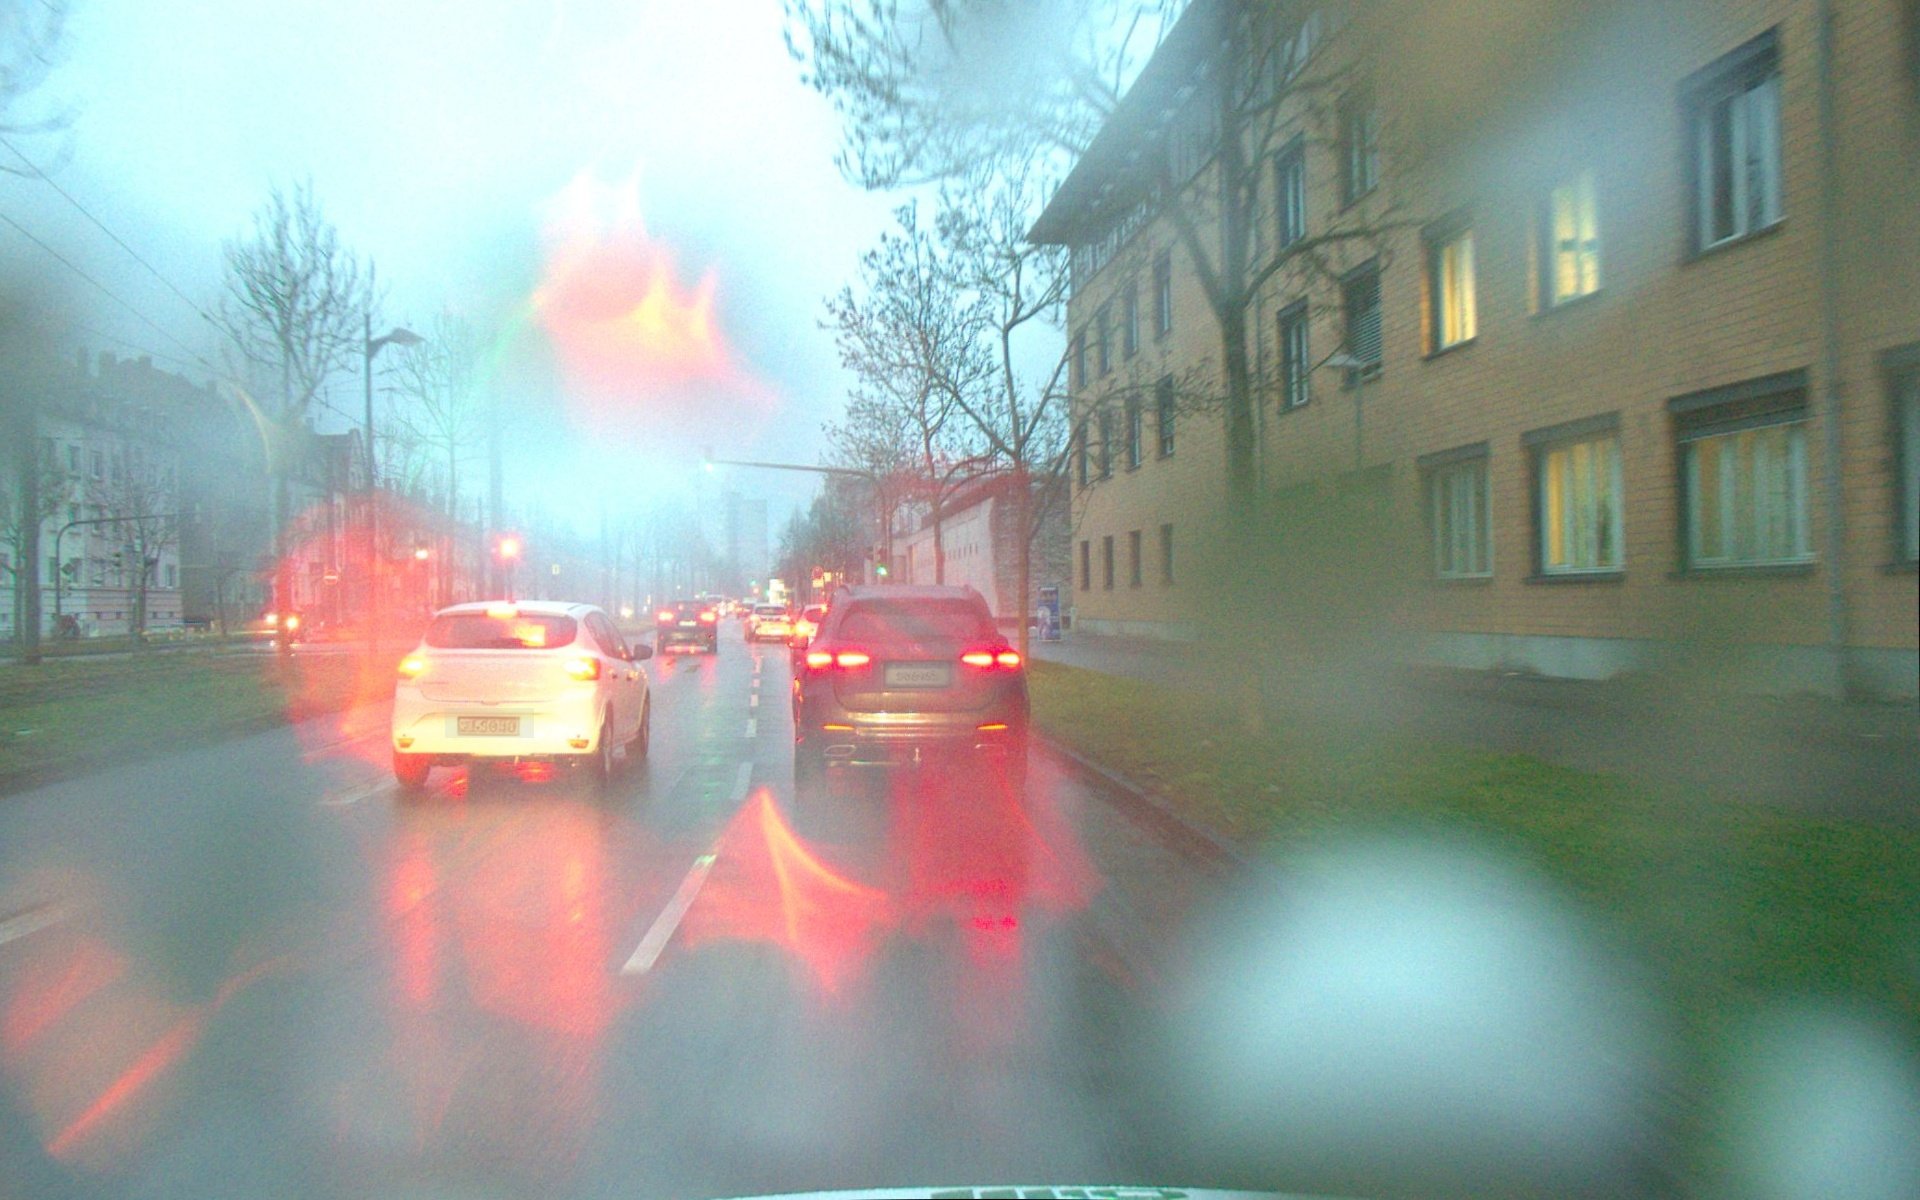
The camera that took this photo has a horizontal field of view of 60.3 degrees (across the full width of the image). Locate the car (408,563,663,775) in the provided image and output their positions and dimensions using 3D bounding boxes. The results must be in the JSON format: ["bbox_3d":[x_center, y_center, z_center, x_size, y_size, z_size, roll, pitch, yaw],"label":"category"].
[{"bbox_3d":[-3.635,0.545,14.801,1.640,1.628,4.048,0,0,-6],"label":"car"}]

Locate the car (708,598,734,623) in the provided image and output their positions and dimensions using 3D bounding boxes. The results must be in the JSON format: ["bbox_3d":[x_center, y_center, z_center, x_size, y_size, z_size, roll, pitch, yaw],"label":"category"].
[{"bbox_3d":[-19.905,0.848,137.982,1.955,2.049,3.995,-1,0,-6],"label":"car"}]

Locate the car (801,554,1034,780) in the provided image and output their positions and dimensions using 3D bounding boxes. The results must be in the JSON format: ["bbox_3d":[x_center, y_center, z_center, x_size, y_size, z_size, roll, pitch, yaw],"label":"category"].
[{"bbox_3d":[-0.497,0.500,14.035,1.640,1.628,4.048,0,0,-6],"label":"car"}]

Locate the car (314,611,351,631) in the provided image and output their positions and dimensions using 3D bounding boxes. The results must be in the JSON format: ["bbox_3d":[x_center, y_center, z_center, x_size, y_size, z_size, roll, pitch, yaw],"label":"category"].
[{"bbox_3d":[-45.832,1.552,120.870,1.742,1.378,3.551,-1,0,-8],"label":"car"}]

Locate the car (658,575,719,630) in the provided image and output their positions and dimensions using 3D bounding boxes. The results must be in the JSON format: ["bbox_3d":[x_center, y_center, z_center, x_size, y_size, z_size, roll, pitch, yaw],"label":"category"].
[{"bbox_3d":[-8.431,0.088,51.597,1.640,1.628,4.048,0,0,-6],"label":"car"}]

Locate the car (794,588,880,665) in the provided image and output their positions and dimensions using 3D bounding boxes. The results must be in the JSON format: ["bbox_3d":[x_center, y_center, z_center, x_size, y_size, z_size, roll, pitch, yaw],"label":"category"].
[{"bbox_3d":[-3.088,0.620,40.826,1.955,1.774,3.994,-1,0,-6],"label":"car"}]
